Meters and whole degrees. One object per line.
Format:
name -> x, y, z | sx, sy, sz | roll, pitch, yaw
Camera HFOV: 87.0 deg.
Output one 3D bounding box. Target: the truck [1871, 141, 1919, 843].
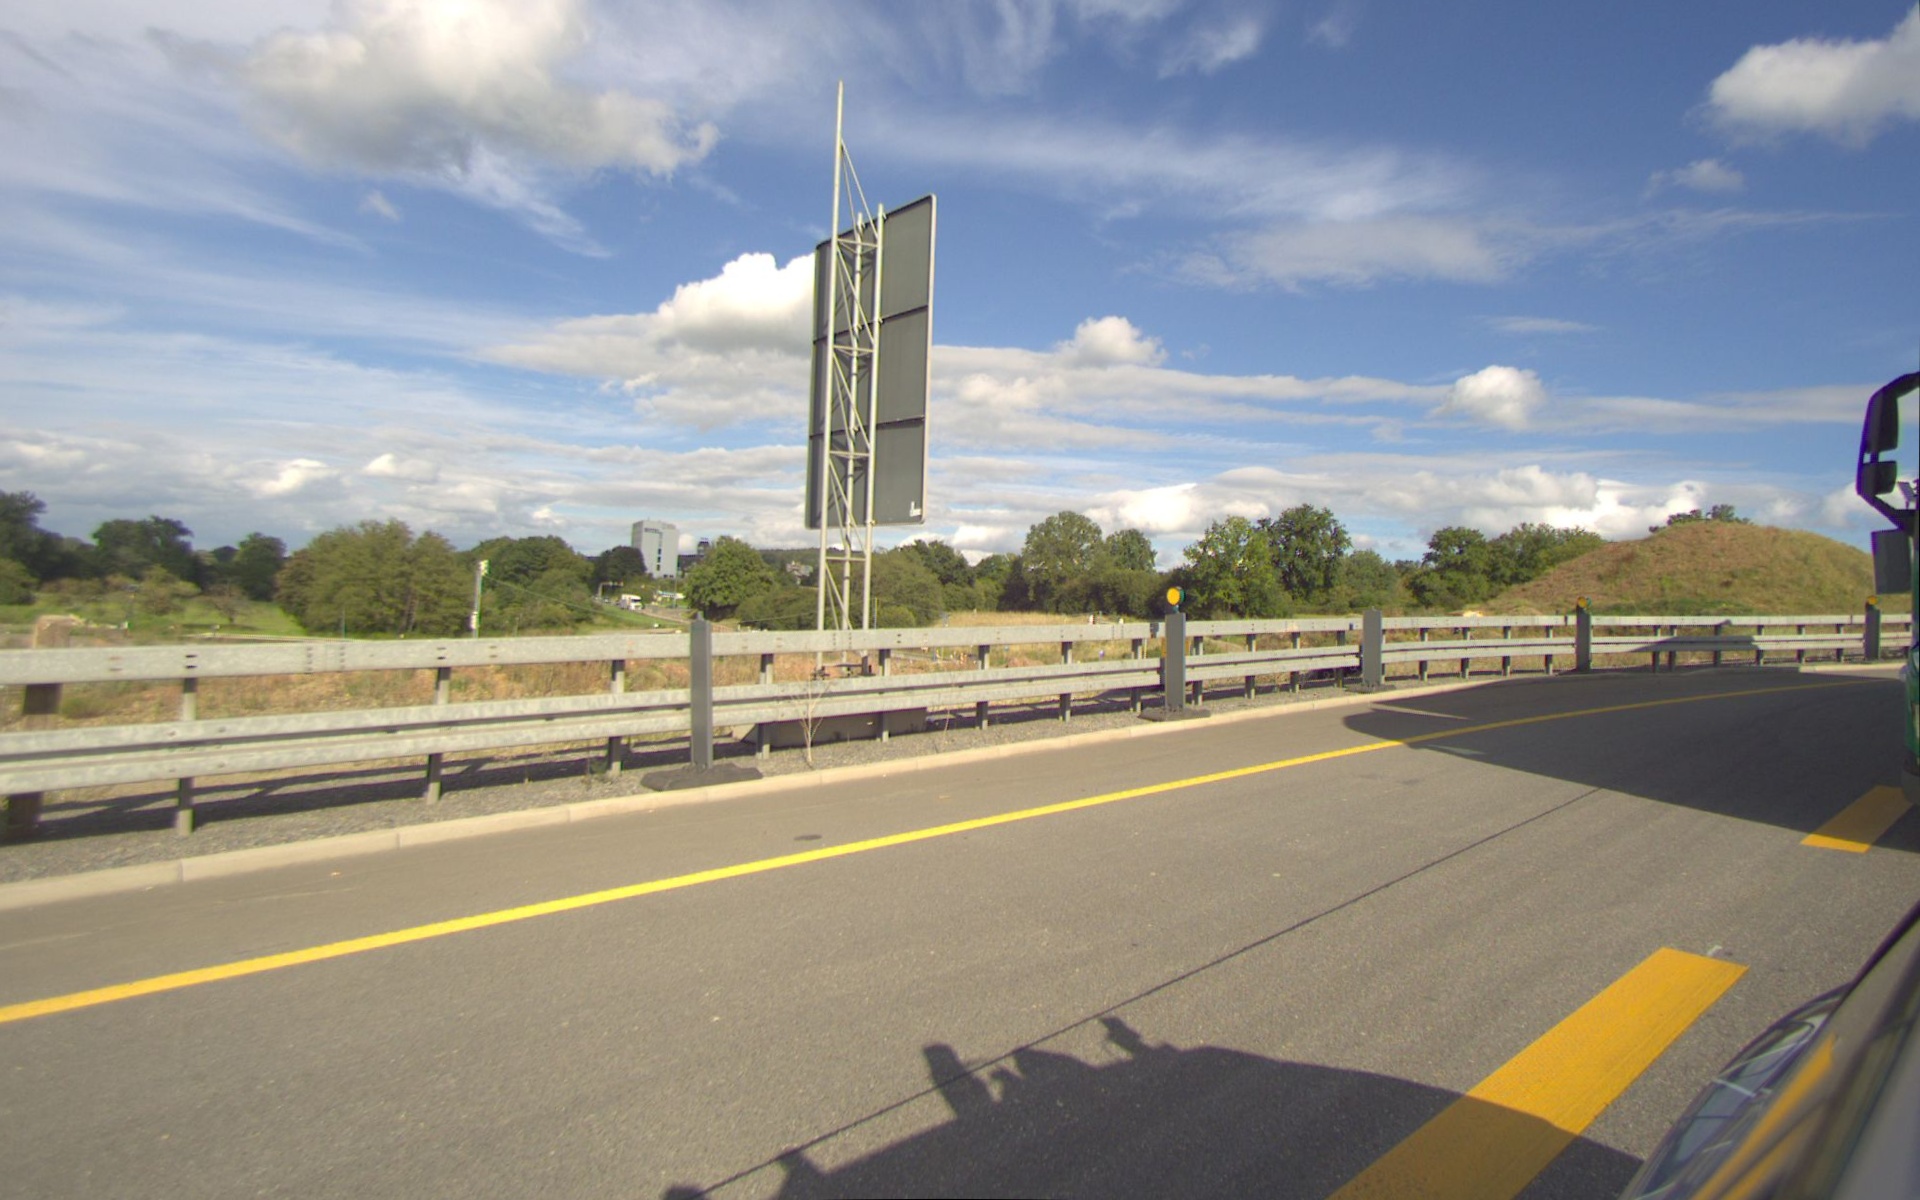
truck -> 9.859, -0.686, 8.135 | 10.140, 3.896, 2.660 | -1, 1, -42
